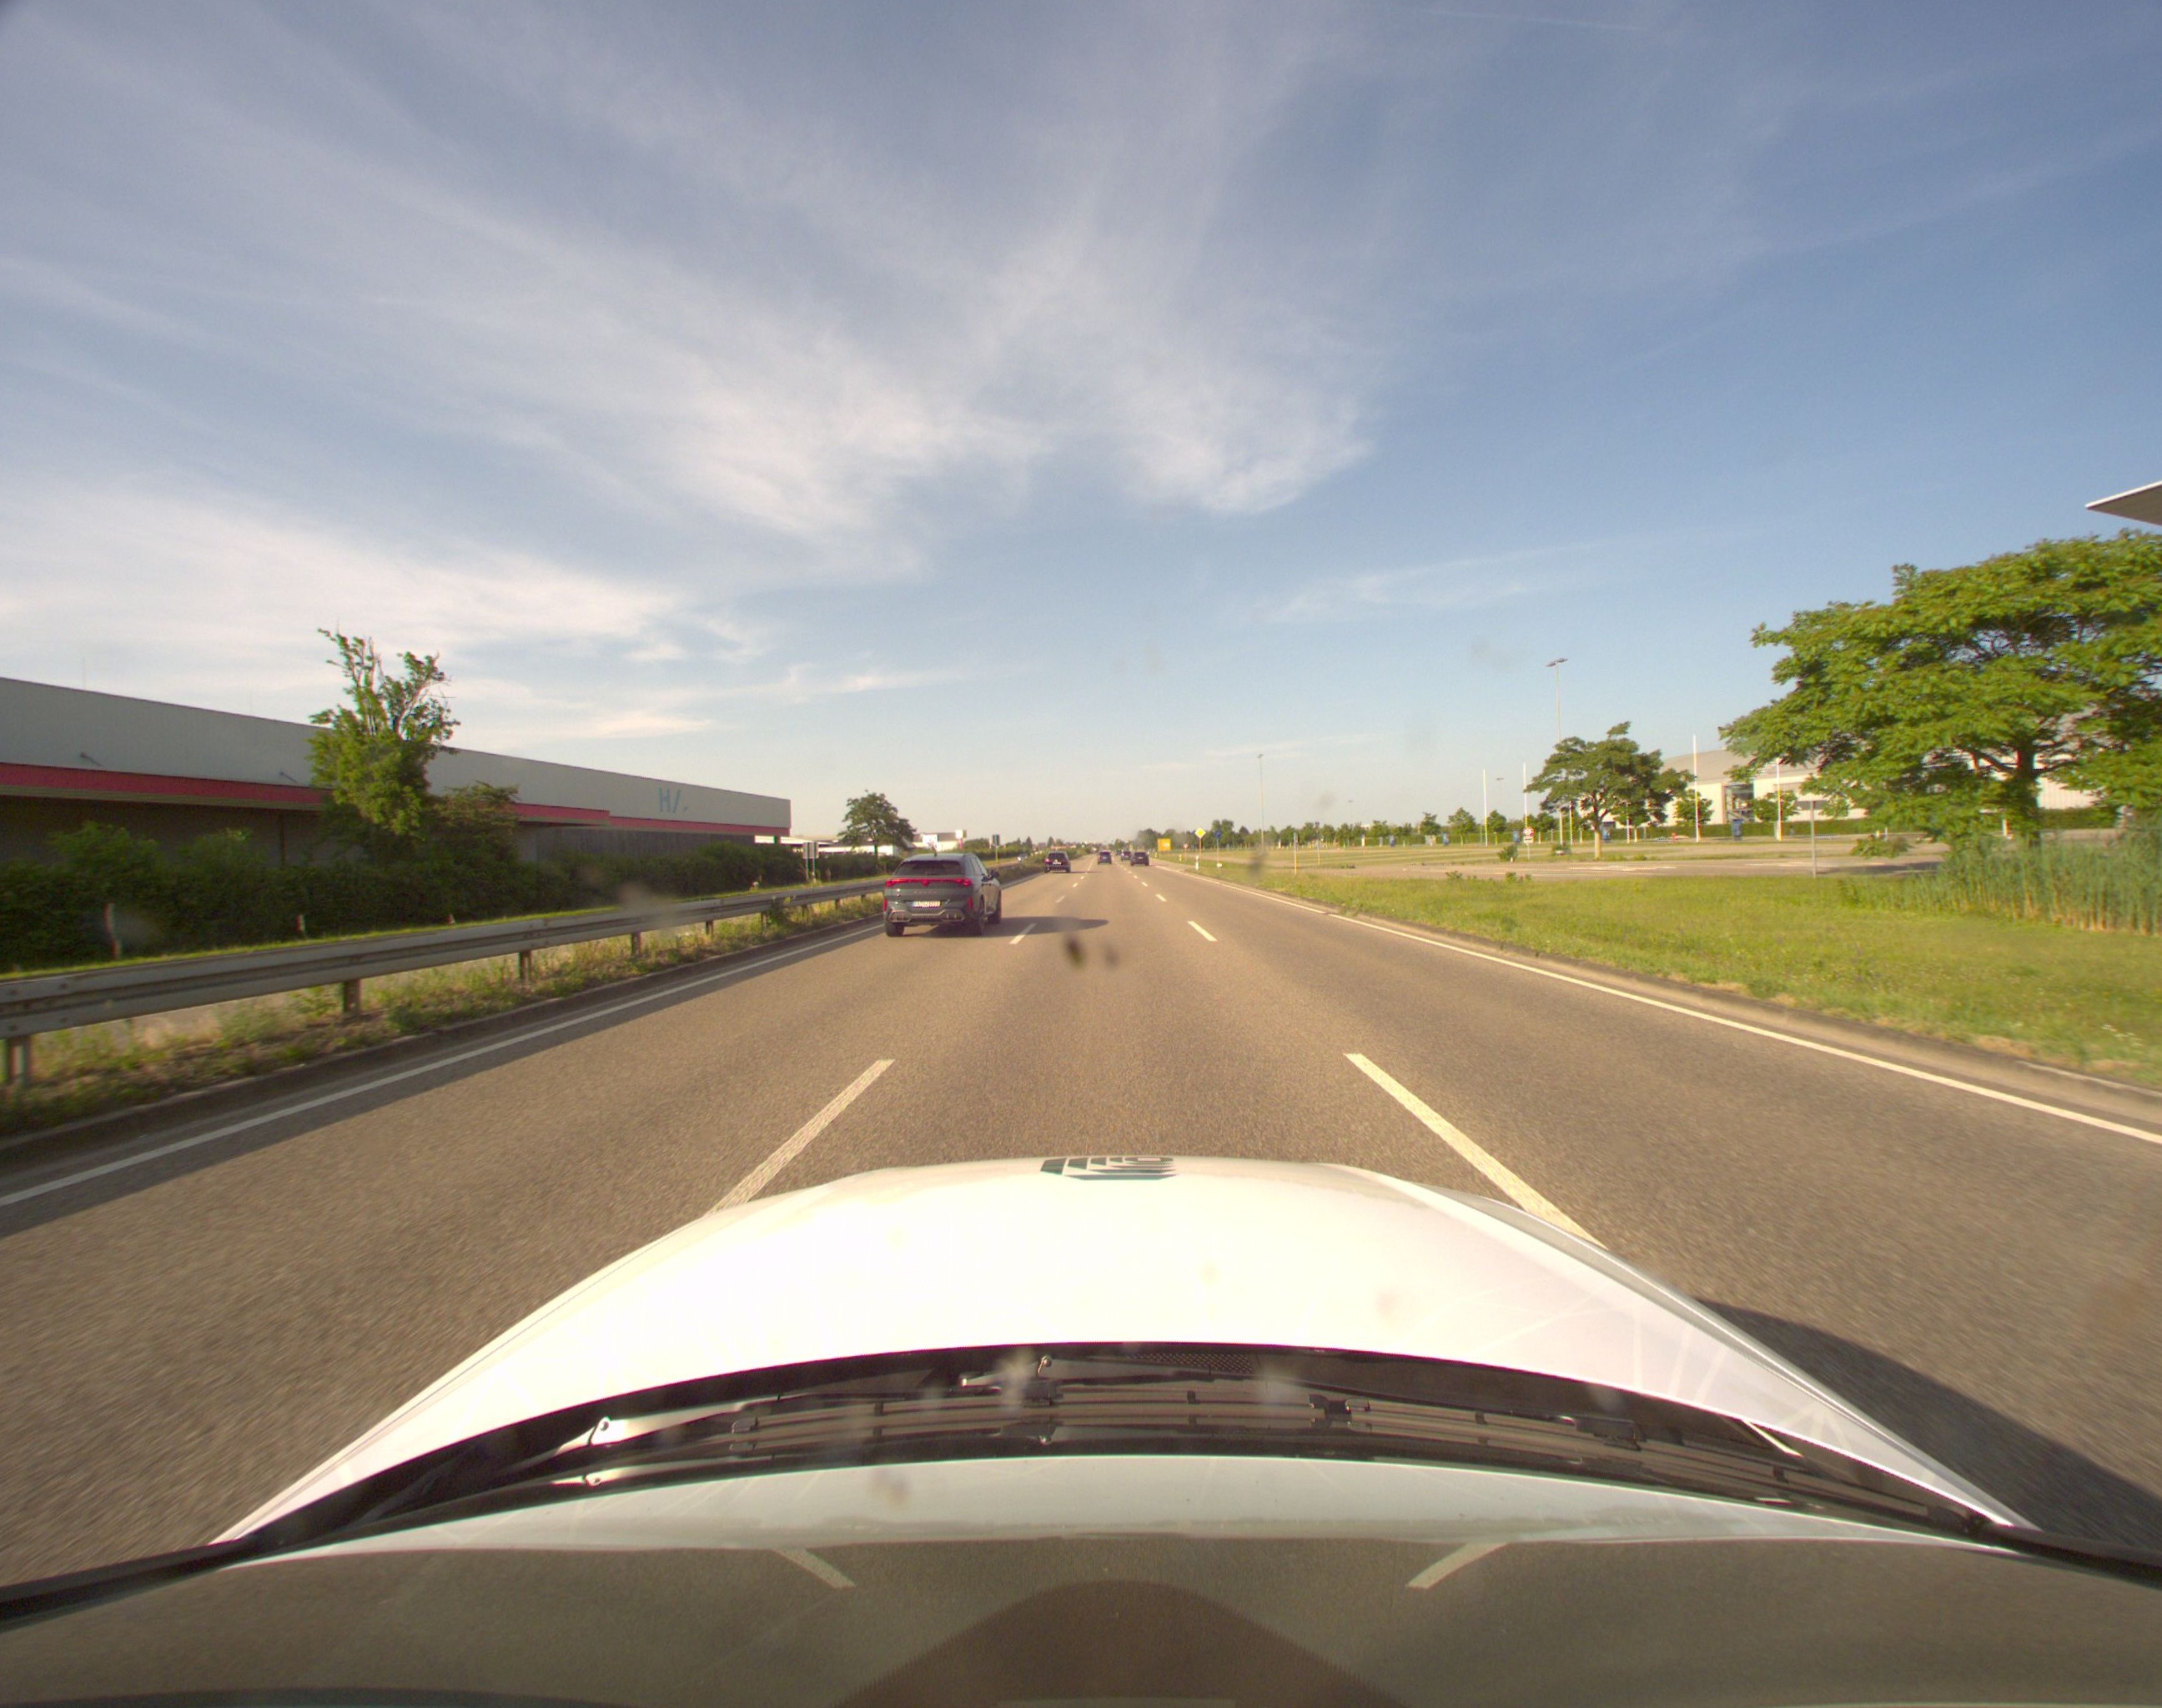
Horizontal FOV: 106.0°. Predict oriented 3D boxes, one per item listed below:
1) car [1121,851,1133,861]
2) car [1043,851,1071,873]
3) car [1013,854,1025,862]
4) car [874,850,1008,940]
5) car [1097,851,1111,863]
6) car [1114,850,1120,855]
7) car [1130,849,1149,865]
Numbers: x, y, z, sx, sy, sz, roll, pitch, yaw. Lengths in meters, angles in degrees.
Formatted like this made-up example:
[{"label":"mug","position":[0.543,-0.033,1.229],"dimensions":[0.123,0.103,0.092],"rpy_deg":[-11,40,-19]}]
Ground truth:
[{"label":"car","position":[7.356,0.278,130.756],"dimensions":[1.866,1.463,3.983],"rpy_deg":[0,0,2]},{"label":"car","position":[-1.874,0.632,64.580],"dimensions":[1.925,1.680,4.403],"rpy_deg":[0,0,2]},{"label":"car","position":[-11.241,0.735,147.564],"dimensions":[1.772,1.424,4.002],"rpy_deg":[-2,0,2]},{"label":"car","position":[-2.717,0.723,16.807],"dimensions":[1.838,1.611,4.403],"rpy_deg":[0,0,2]},{"label":"car","position":[2.962,0.308,103.580],"dimensions":[1.806,1.463,4.403],"rpy_deg":[0,0,2]},{"label":"car","position":[9.163,-0.344,205.201],"dimensions":[1.497,1.313,3.157],"rpy_deg":[0,0,2]},{"label":"car","position":[6.478,0.284,90.215],"dimensions":[1.925,1.680,4.403],"rpy_deg":[0,0,2]}]
